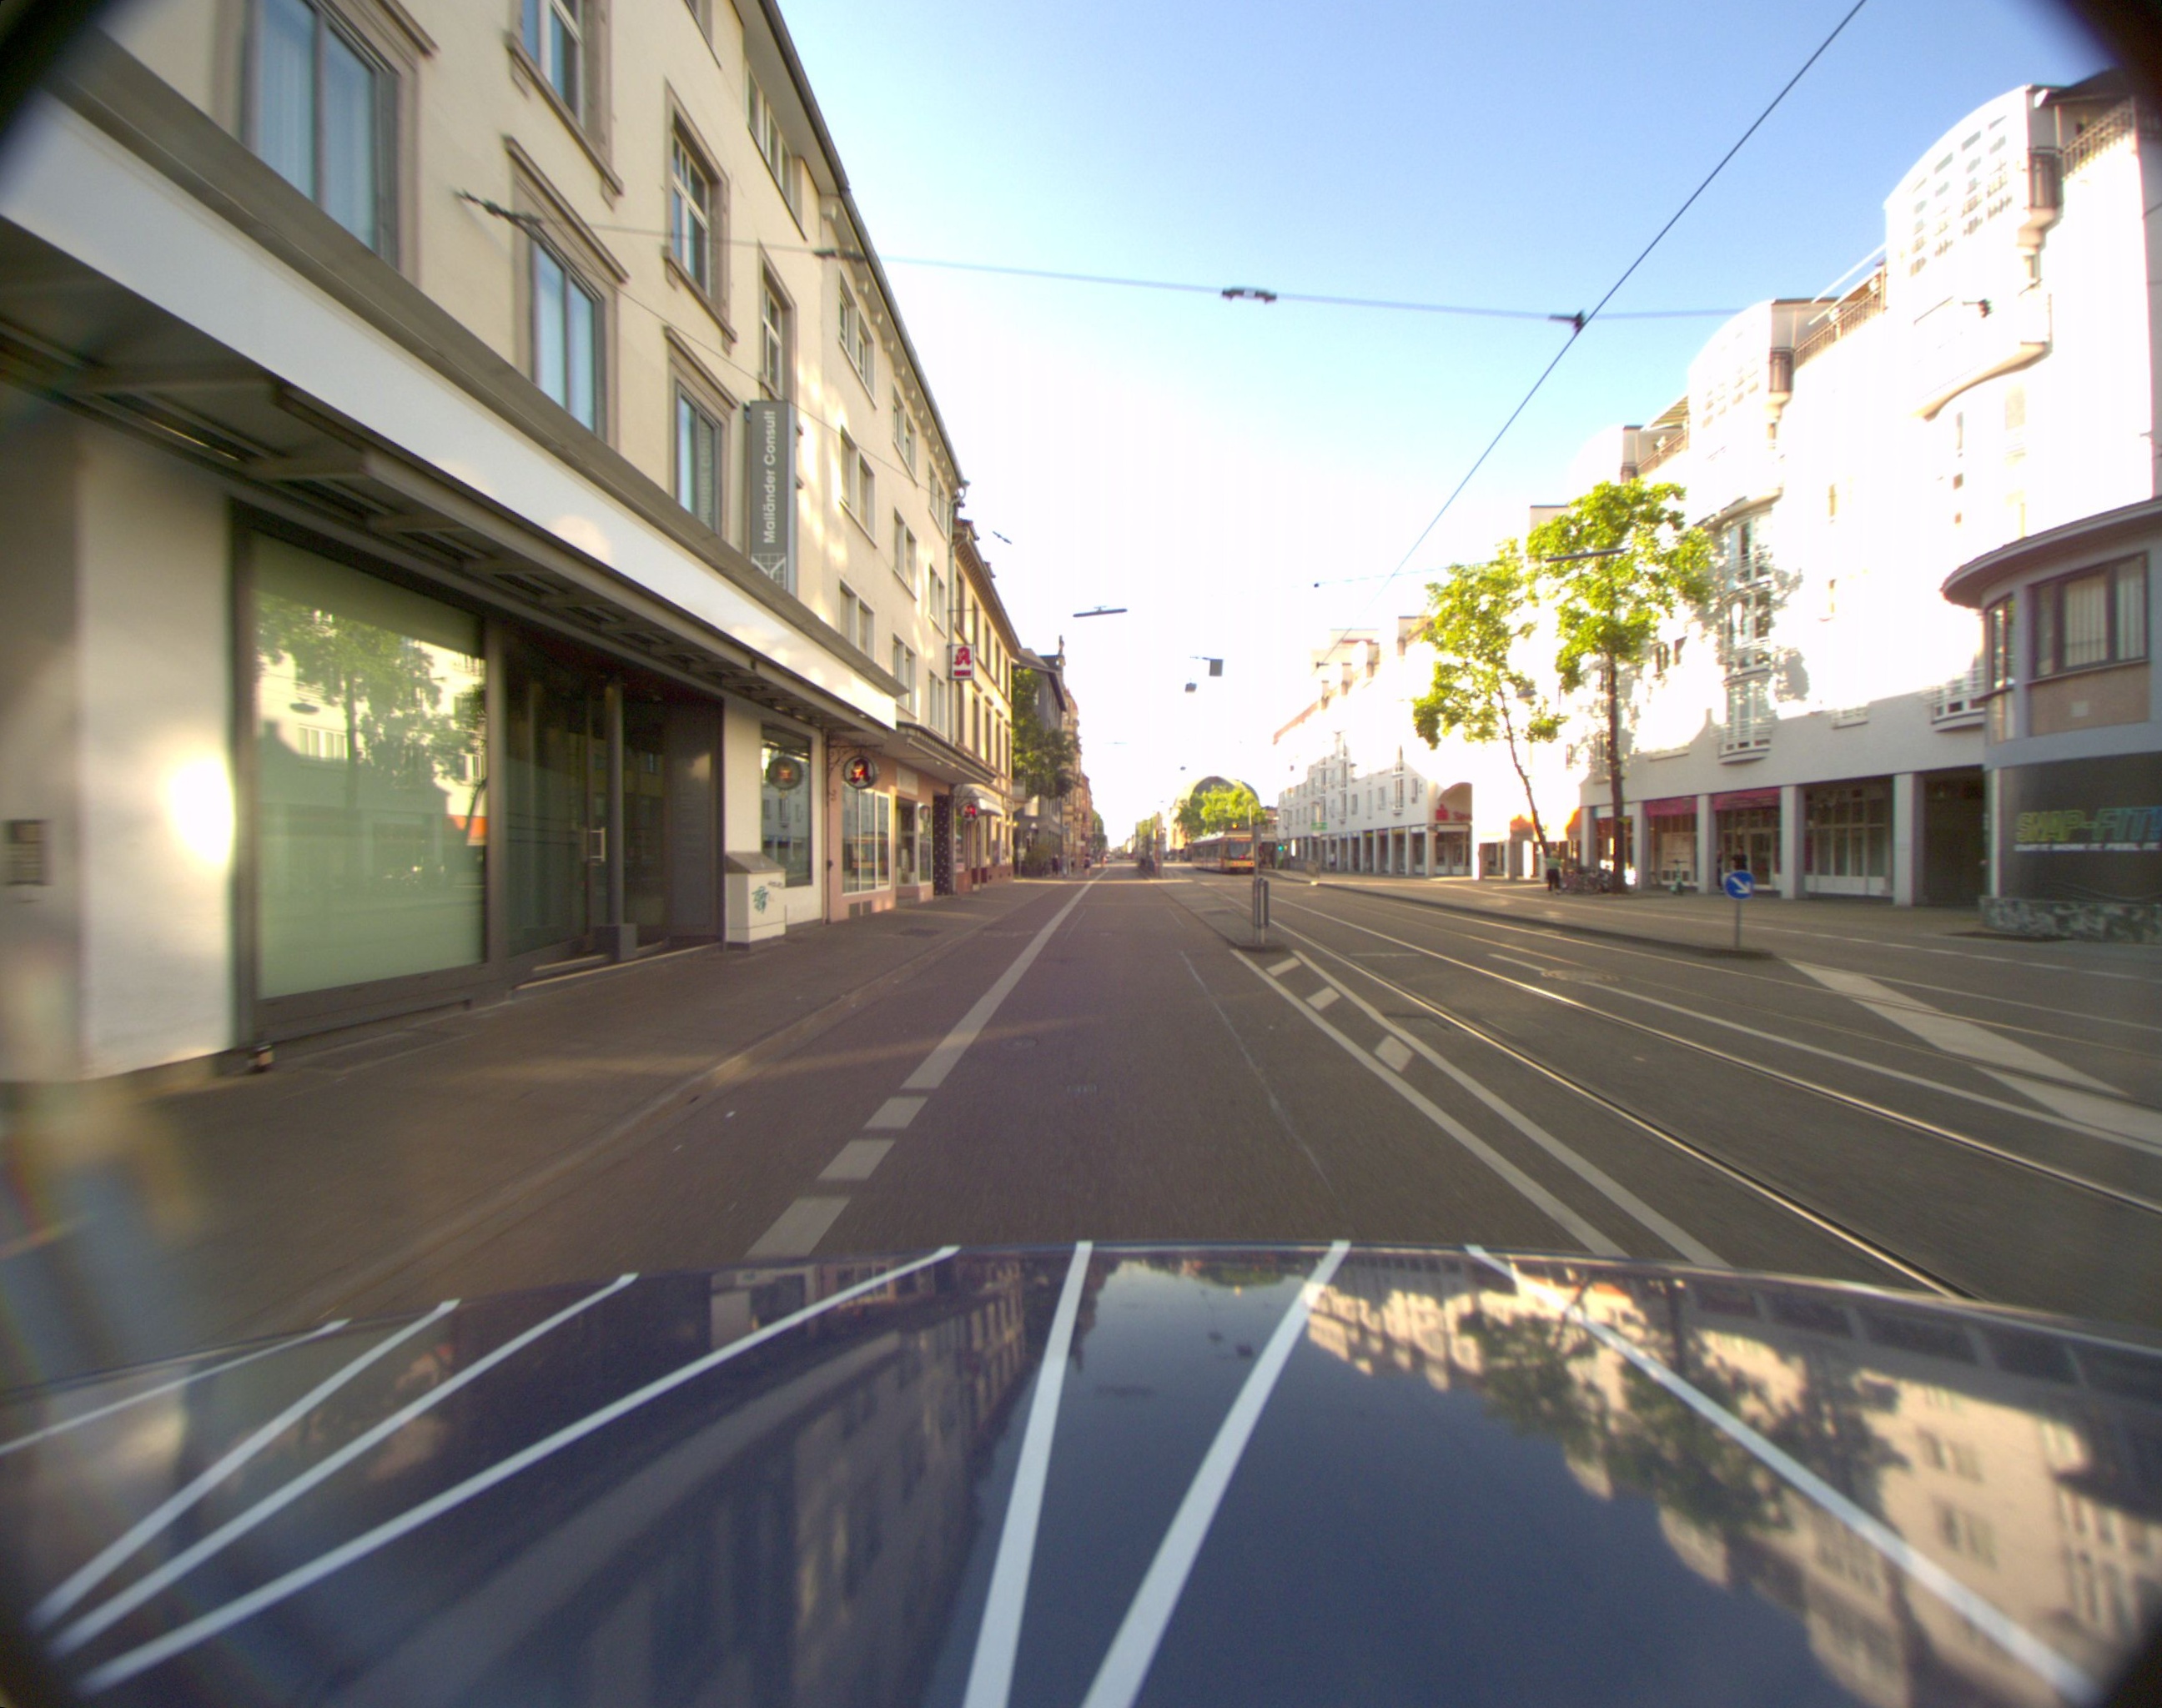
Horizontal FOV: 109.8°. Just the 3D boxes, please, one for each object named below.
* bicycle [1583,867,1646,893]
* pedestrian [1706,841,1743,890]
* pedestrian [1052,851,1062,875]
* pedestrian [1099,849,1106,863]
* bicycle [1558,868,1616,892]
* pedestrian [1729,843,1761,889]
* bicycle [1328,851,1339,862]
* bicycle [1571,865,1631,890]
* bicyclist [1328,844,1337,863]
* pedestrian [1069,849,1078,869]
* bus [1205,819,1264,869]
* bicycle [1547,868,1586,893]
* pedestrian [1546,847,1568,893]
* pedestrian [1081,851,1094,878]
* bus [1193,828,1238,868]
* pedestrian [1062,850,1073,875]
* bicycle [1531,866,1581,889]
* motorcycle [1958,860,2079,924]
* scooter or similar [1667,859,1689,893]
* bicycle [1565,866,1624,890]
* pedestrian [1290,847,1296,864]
[{"bbox_3d":[18.970,0.935,27.049,1.848,0.907,0.390,0,0,8],"label":"bicycle"},{"bbox_3d":[23.052,0.413,27.221,0.631,1.706,0.825,1,0,5],"label":"pedestrian"},{"bbox_3d":[-1.625,0.622,51.883,0.651,1.569,0.682,1,0,-4],"label":"pedestrian"},{"bbox_3d":[2.754,0.232,97.685,0.694,1.760,0.697,1,0,8],"label":"pedestrian"},{"bbox_3d":[19.262,0.998,28.925,1.848,0.907,0.390,0,0,8],"label":"bicycle"},{"bbox_3d":[23.120,0.405,26.457,0.560,1.567,0.632,1,0,4],"label":"pedestrian"},{"bbox_3d":[22.228,0.244,66.865,0.518,0.983,1.727,0,0,4],"label":"bicycle"},{"bbox_3d":[19.194,0.855,28.059,1.848,0.907,0.390,0,-1,8],"label":"bicycle"},{"bbox_3d":[22.167,-0.022,66.959,0.514,1.690,0.808,0,0,4],"label":"bicyclist"},{"bbox_3d":[-0.640,0.439,68.133,0.650,1.760,0.697,1,0,8],"label":"pedestrian"},{"bbox_3d":[12.244,-0.659,61.890,2.817,3.546,13.684,1,-1,4],"label":"bus"},{"bbox_3d":[18.045,0.965,28.277,0.389,0.907,1.852,0,-1,4],"label":"bicycle"},{"bbox_3d":[17.849,0.592,28.498,0.630,1.706,0.827,1,0,30],"label":"pedestrian"},{"bbox_3d":[0.432,0.733,51.238,0.807,1.789,0.762,1,0,3],"label":"pedestrian"},{"bbox_3d":[13.138,-0.498,75.408,2.817,3.546,13.684,1,-1,4],"label":"bus"},{"bbox_3d":[-0.917,0.596,51.991,0.651,1.706,0.806,1,0,-4],"label":"pedestrian"},{"bbox_3d":[19.009,0.956,30.404,1.776,0.907,0.419,0,0,-1],"label":"bicycle"},{"bbox_3d":[19.463,0.785,15.793,1.759,1.271,0.562,-1,-1,0],"label":"motorcycle"},{"bbox_3d":[20.159,0.745,25.675,0.335,1.105,1.182,1,0,26],"label":"scooter or similar"},{"bbox_3d":[19.262,0.899,28.516,1.848,0.907,0.390,0,0,8],"label":"bicycle"},{"bbox_3d":[22.644,0.169,81.140,0.533,1.706,0.707,1,0,5],"label":"pedestrian"}]
